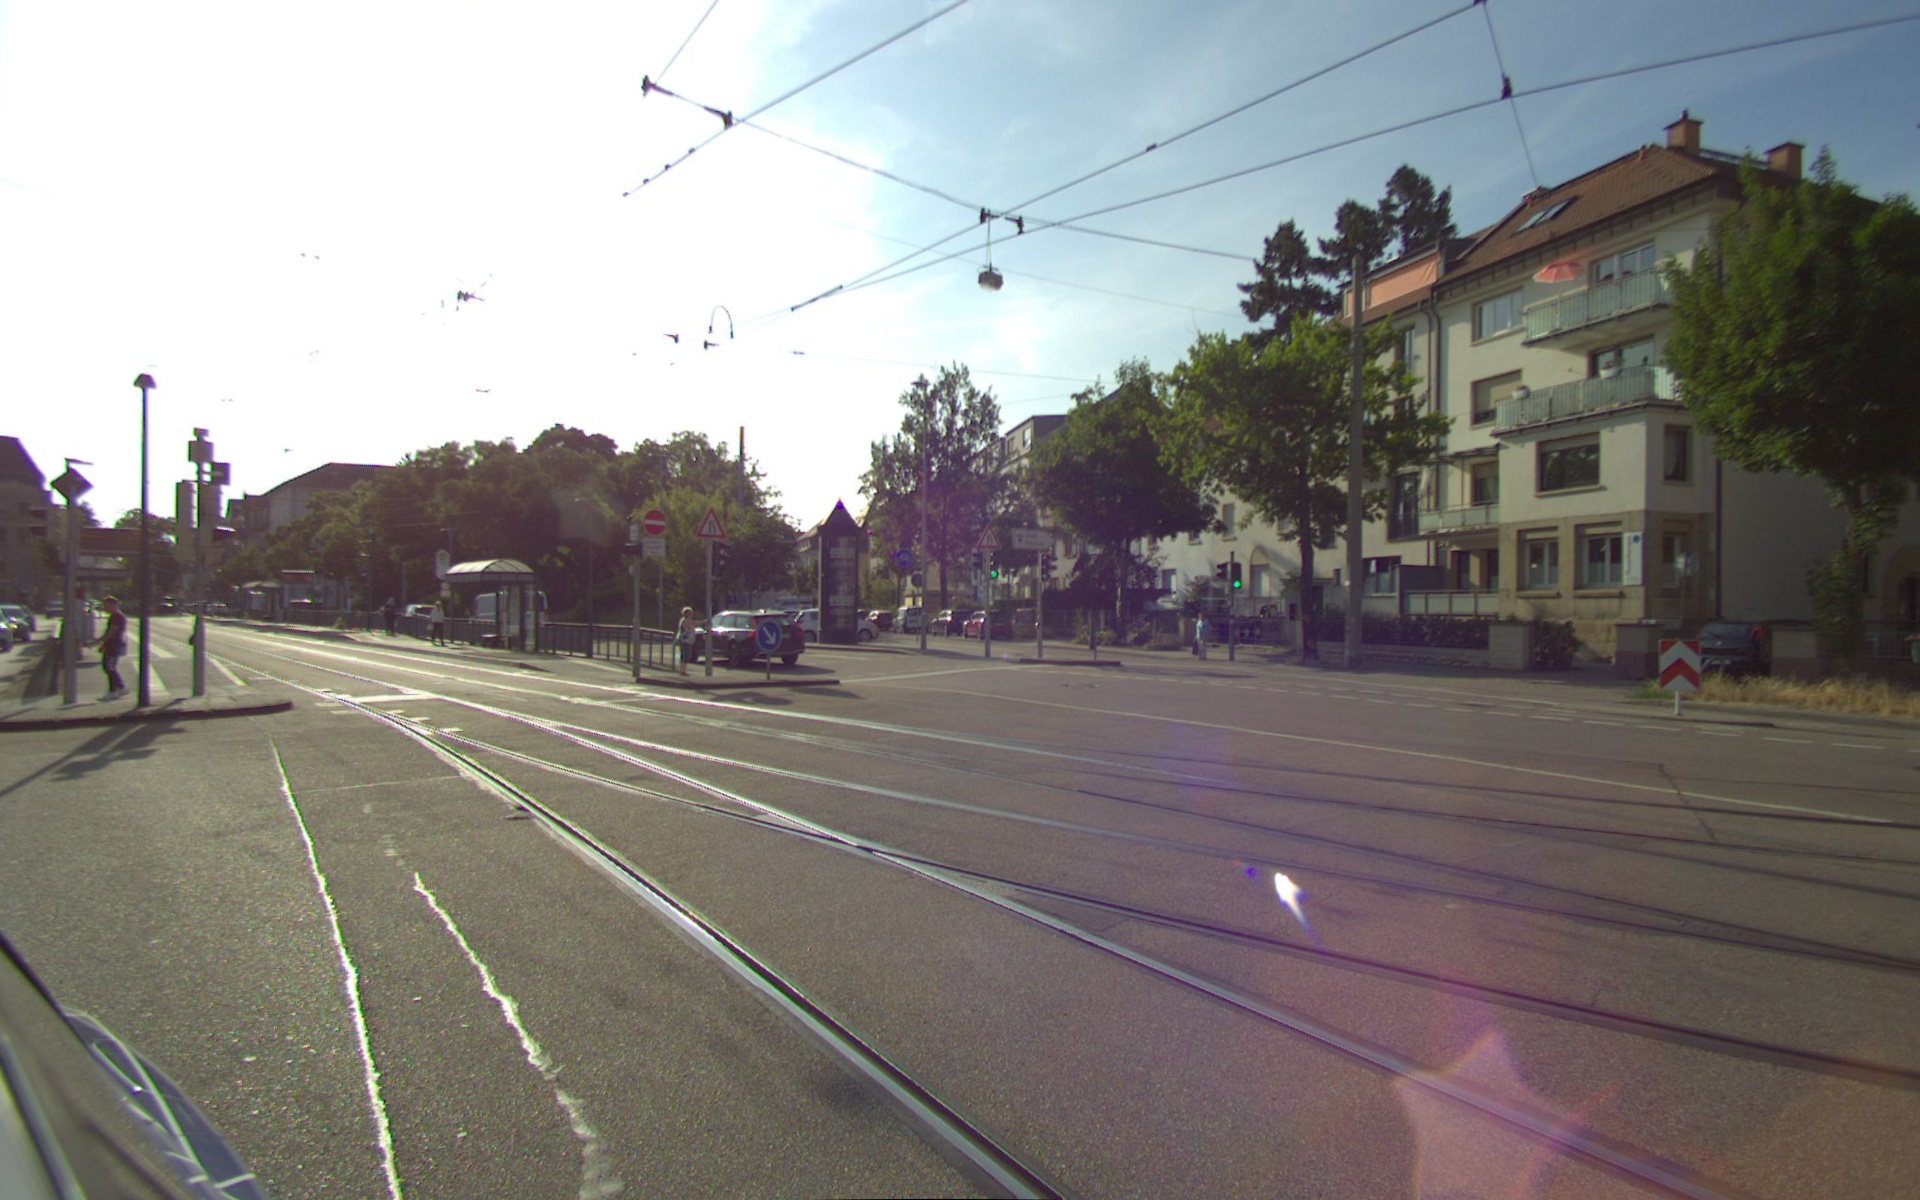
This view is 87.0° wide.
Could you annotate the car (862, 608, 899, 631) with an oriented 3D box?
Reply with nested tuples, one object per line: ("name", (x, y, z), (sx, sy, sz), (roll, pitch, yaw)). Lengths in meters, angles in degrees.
("car", (-5.764, 1.400, 73.069), (1.787, 1.626, 4.012), (1, -1, -18))

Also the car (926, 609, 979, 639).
("car", (-0.463, 1.330, 56.086), (1.787, 1.585, 4.012), (1, -1, -18))

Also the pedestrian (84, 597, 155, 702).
("pedestrian", (-13.922, 0.804, 16.784), (0.869, 1.683, 0.673), (1, -1, -39))

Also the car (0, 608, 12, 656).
("car", (-32.099, 1.008, 32.957), (1.647, 1.516, 3.877), (1, -1, -41))

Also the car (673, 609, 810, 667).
("car", (-6.246, 1.076, 28.532), (1.745, 1.506, 4.751), (1, -3, -41))

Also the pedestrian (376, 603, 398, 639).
("pedestrian", (-26.274, 0.958, 46.420), (0.725, 1.640, 0.690), (1, -1, -41))

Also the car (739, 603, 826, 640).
("car", (-8.855, 1.060, 50.397), (3.930, 1.767, 1.860), (1, -1, -23))

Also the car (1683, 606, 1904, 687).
("car", (18.083, 0.976, 22.004), (3.932, 1.644, 1.781), (0, -1, -17))

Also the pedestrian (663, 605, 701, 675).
("pedestrian", (-6.495, 0.921, 23.659), (0.716, 1.601, 0.583), (-1, -1, 45))

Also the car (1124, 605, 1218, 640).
("car", (10.002, 1.061, 48.013), (3.932, 1.570, 1.862), (1, -1, -16))

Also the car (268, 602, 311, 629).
("car", (-52.590, 1.227, 79.336), (2.119, 2.029, 5.395), (1, -1, -41))

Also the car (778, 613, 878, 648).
("car", (-5.632, 1.282, 43.099), (3.931, 1.439, 1.778), (1, -1, -20))

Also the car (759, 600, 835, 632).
("car", (-9.259, 0.884, 57.535), (3.930, 1.767, 1.860), (1, -1, -23))

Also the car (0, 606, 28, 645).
("car", (-38.715, 0.986, 40.632), (1.755, 1.516, 4.006), (1, -1, -41))

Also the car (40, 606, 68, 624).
("car", (-89.210, 1.477, 99.631), (1.970, 1.696, 4.004), (1, -1, -43))

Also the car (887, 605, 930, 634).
("car", (-3.393, 1.282, 65.732), (1.787, 1.813, 4.012), (1, -1, -19))

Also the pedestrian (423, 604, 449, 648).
("pedestrian", (-19.820, 0.989, 38.260), (0.697, 1.640, 0.728), (1, -1, -41))

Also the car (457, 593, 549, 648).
("car", (-19.895, 0.868, 43.952), (2.150, 2.256, 5.259), (1, -1, -42))

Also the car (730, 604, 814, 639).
("car", (-9.710, 1.095, 52.259), (3.930, 1.767, 1.860), (1, -1, -23))

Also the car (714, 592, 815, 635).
("car", (-13.119, 0.877, 68.052), (6.488, 2.830, 1.778), (0, -1, -20))

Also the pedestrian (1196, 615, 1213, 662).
("pedestrian", (8.039, 1.259, 33.307), (0.399, 1.527, 0.391), (1, -1, -15))

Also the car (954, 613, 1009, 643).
("car", (1.034, 1.352, 50.795), (1.523, 1.437, 3.877), (0, -1, -18))

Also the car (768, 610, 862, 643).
("car", (-6.580, 1.197, 45.856), (3.931, 1.439, 1.778), (1, -1, -20))

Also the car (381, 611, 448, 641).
("car", (-28.778, 1.380, 53.355), (4.119, 1.537, 1.660), (-2, -2, 39))
